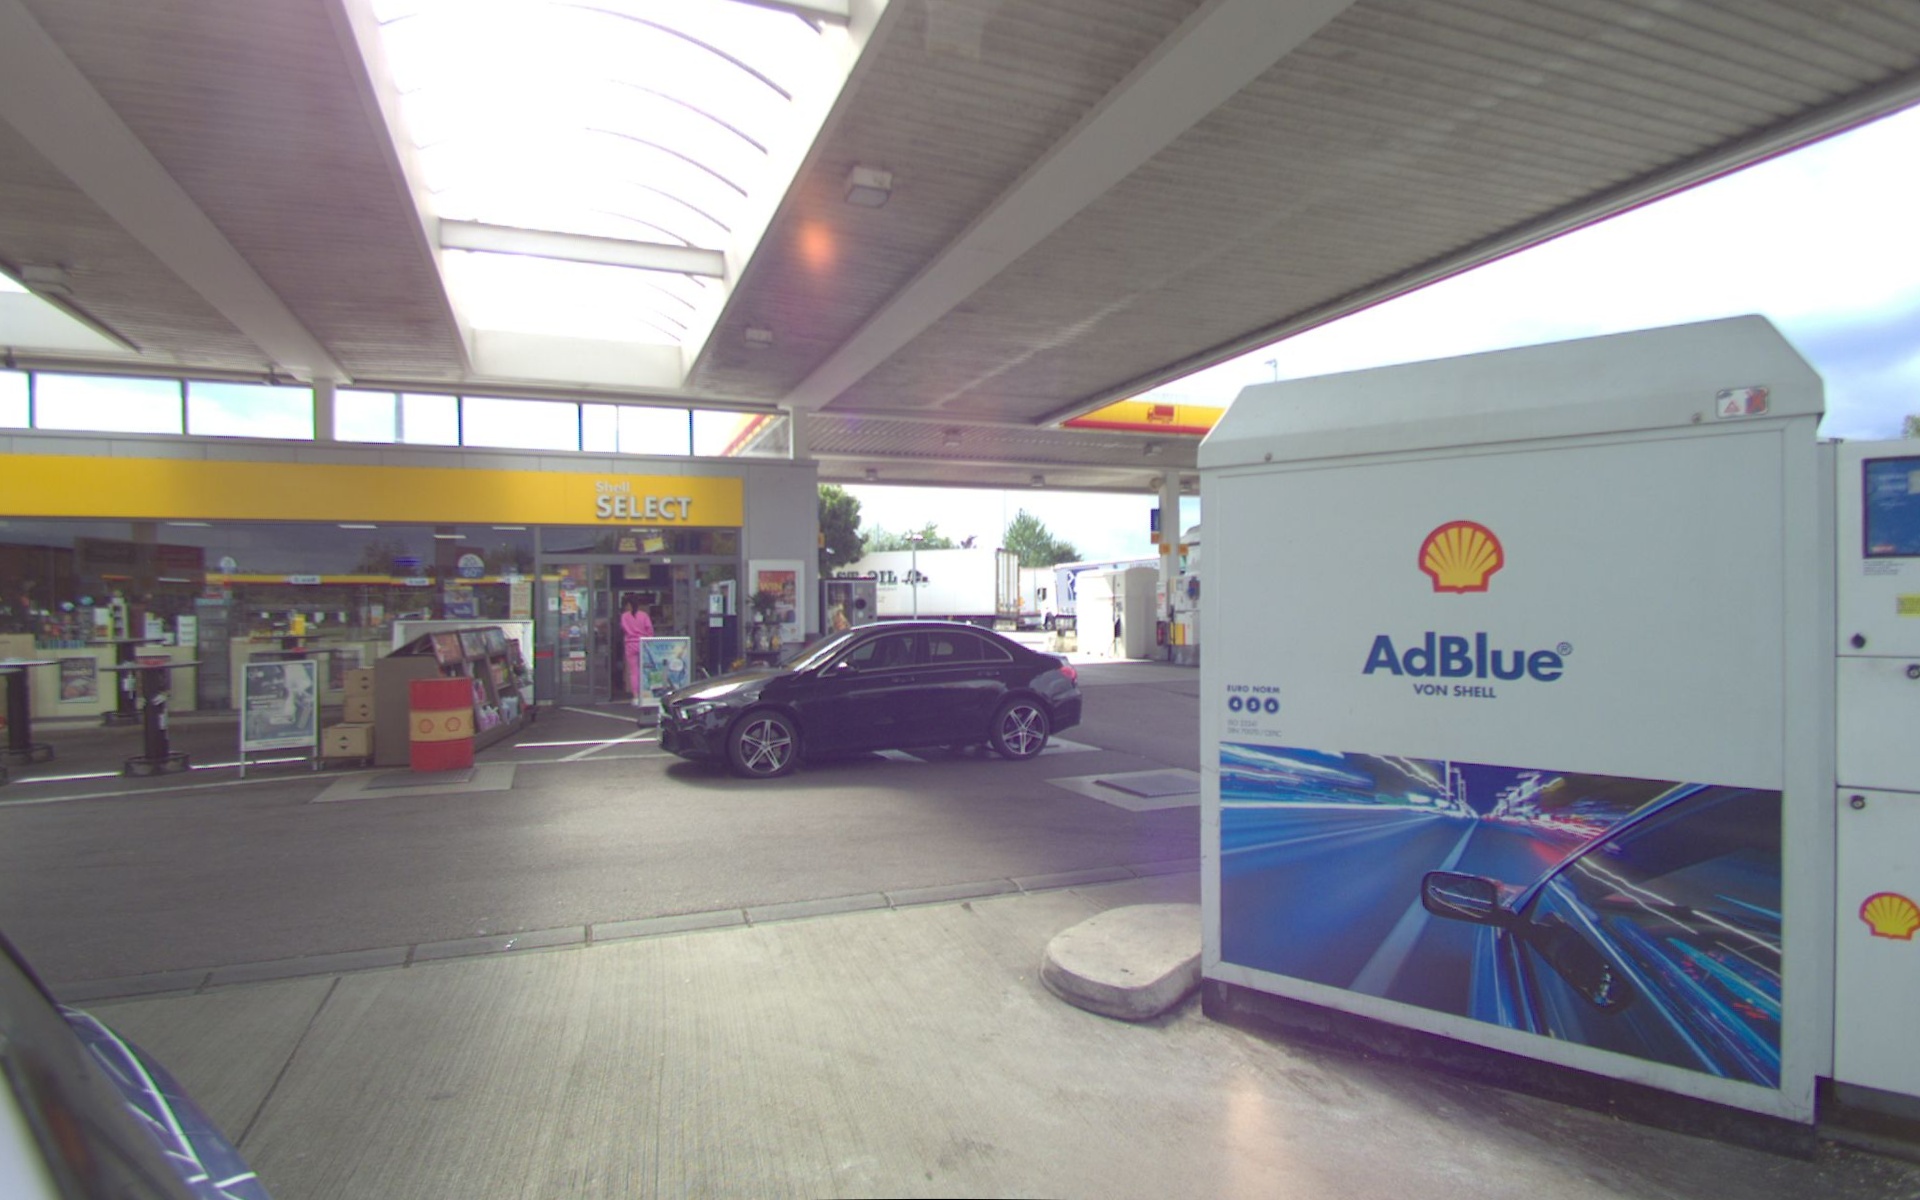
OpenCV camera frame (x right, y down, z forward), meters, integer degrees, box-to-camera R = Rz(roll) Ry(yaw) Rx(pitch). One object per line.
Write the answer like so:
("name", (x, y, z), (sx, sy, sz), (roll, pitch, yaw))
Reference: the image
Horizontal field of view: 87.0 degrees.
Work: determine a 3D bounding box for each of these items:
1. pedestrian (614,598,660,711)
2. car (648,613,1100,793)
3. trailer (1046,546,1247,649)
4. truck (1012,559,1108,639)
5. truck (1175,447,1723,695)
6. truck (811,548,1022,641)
("pedestrian", (-5.106, 0.841, 15.975), (0.616, 1.726, 0.625), (-1, 0, -24))
("car", (-0.910, 0.940, 10.665), (4.394, 1.511, 1.785), (-1, 0, -21))
("trailer", (9.106, -0.110, 52.674), (3.294, 4.600, 14.397), (-1, 0, -20))
("truck", (5.928, -0.061, 61.221), (3.333, 4.538, 6.249), (-1, 0, -20))
("truck", (9.659, -0.469, 23.102), (2.491, 4.069, 12.947), (-1, 0, -22))
("truck", (-2.102, -0.190, 46.839), (9.536, 4.036, 2.772), (-1, 0, 25))
